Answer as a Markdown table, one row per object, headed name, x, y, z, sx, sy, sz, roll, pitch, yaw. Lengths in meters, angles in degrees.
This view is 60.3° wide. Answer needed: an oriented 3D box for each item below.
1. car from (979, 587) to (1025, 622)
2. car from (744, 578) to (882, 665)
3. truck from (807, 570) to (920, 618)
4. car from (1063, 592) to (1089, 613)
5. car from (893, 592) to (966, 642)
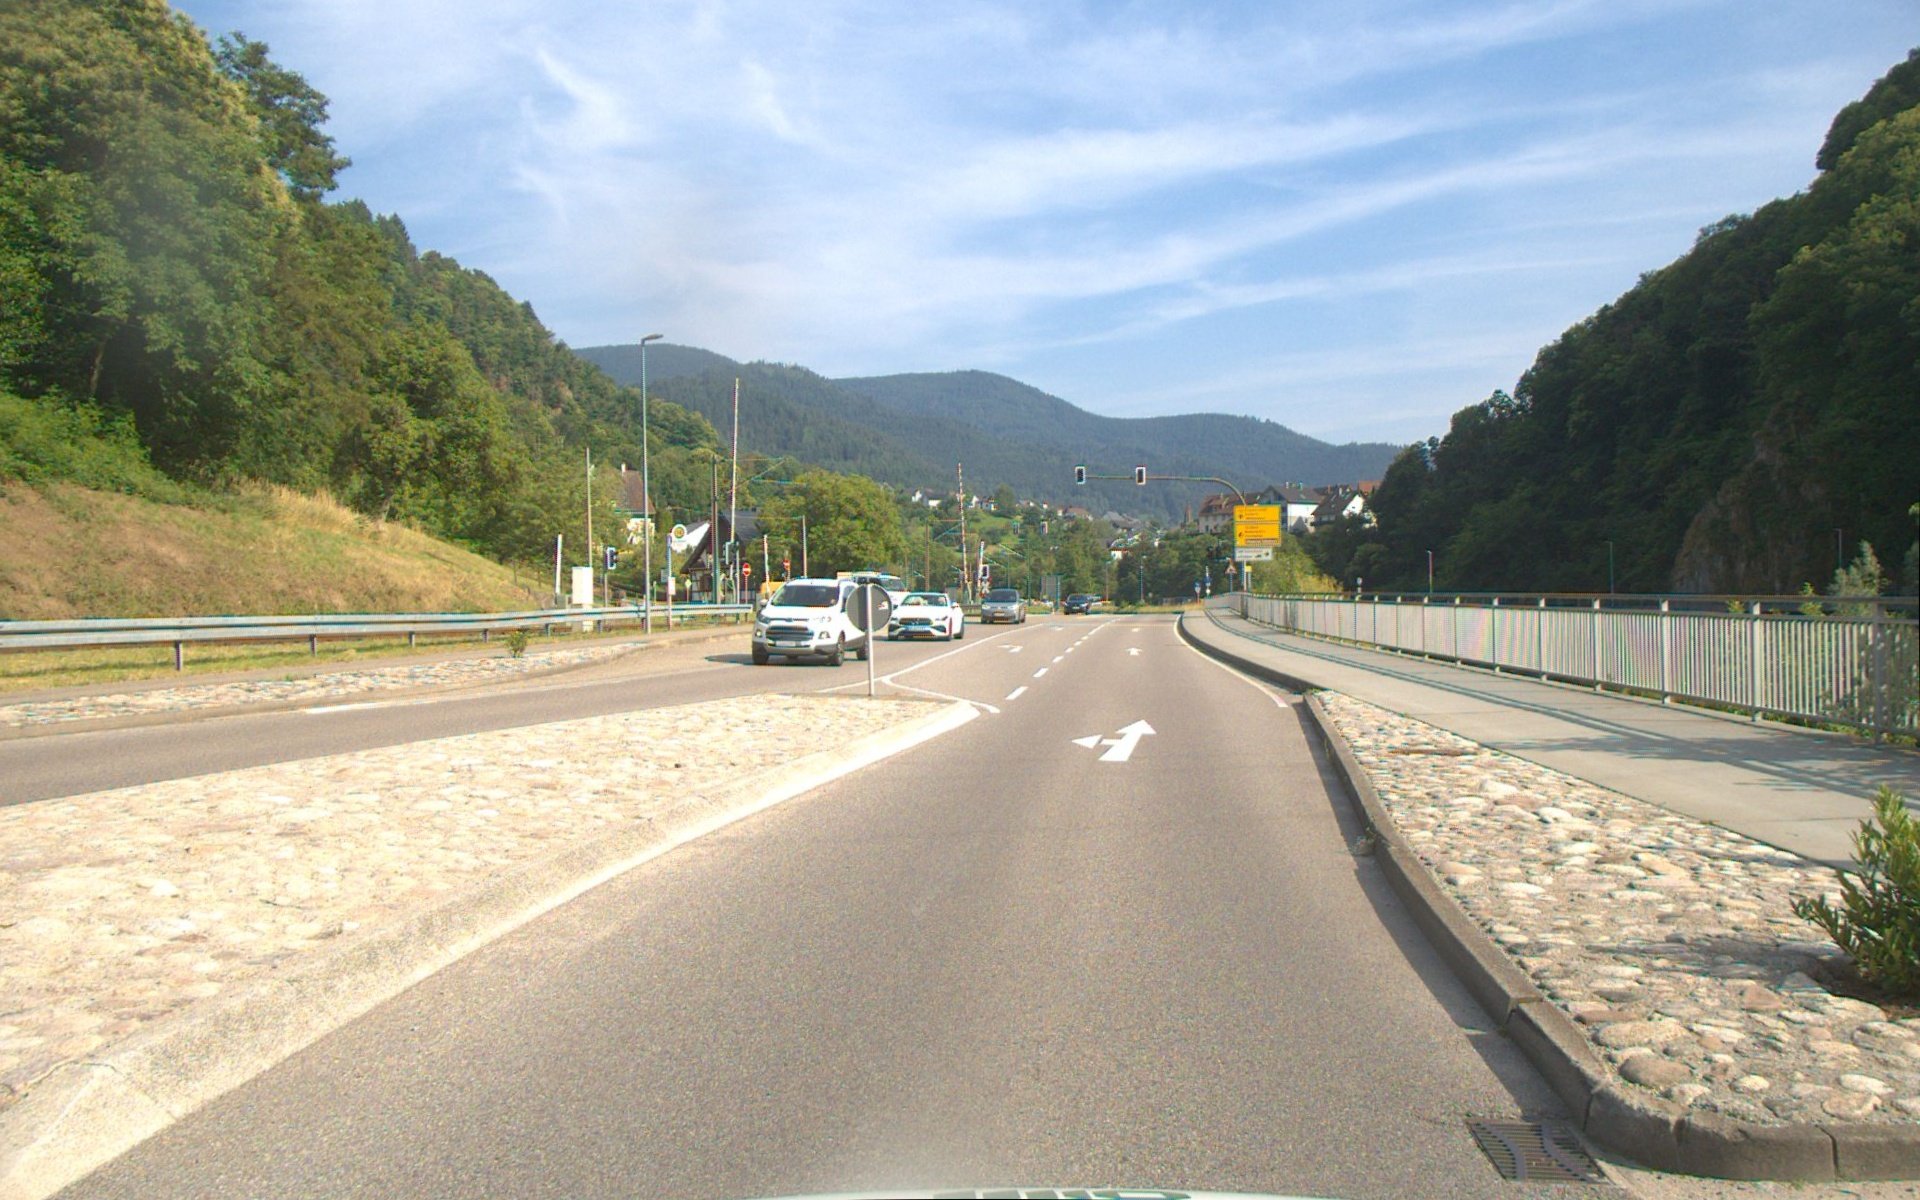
| name | x | y | z | sx | sy | sz | roll | pitch | yaw |
| --- | --- | --- | --- | --- | --- | --- | --- | --- | --- |
| car | 1.958 | 0.196 | 76.186 | 1.721 | 1.548 | 4.207 | 0 | 0 | 7 |
| car | -2.851 | 0.399 | 32.905 | 1.726 | 1.587 | 4.003 | 1 | 0 | 10 |
| truck | -4.962 | -0.336 | 84.765 | 5.888 | 2.306 | 1.991 | 1 | -2 | 38 |
| car | 8.237 | 0.143 | 117.282 | 1.735 | 1.441 | 3.788 | -1 | 0 | 6 |
| car | -0.858 | 0.498 | 49.622 | 1.744 | 1.424 | 4.829 | 1 | 0 | 4 |
